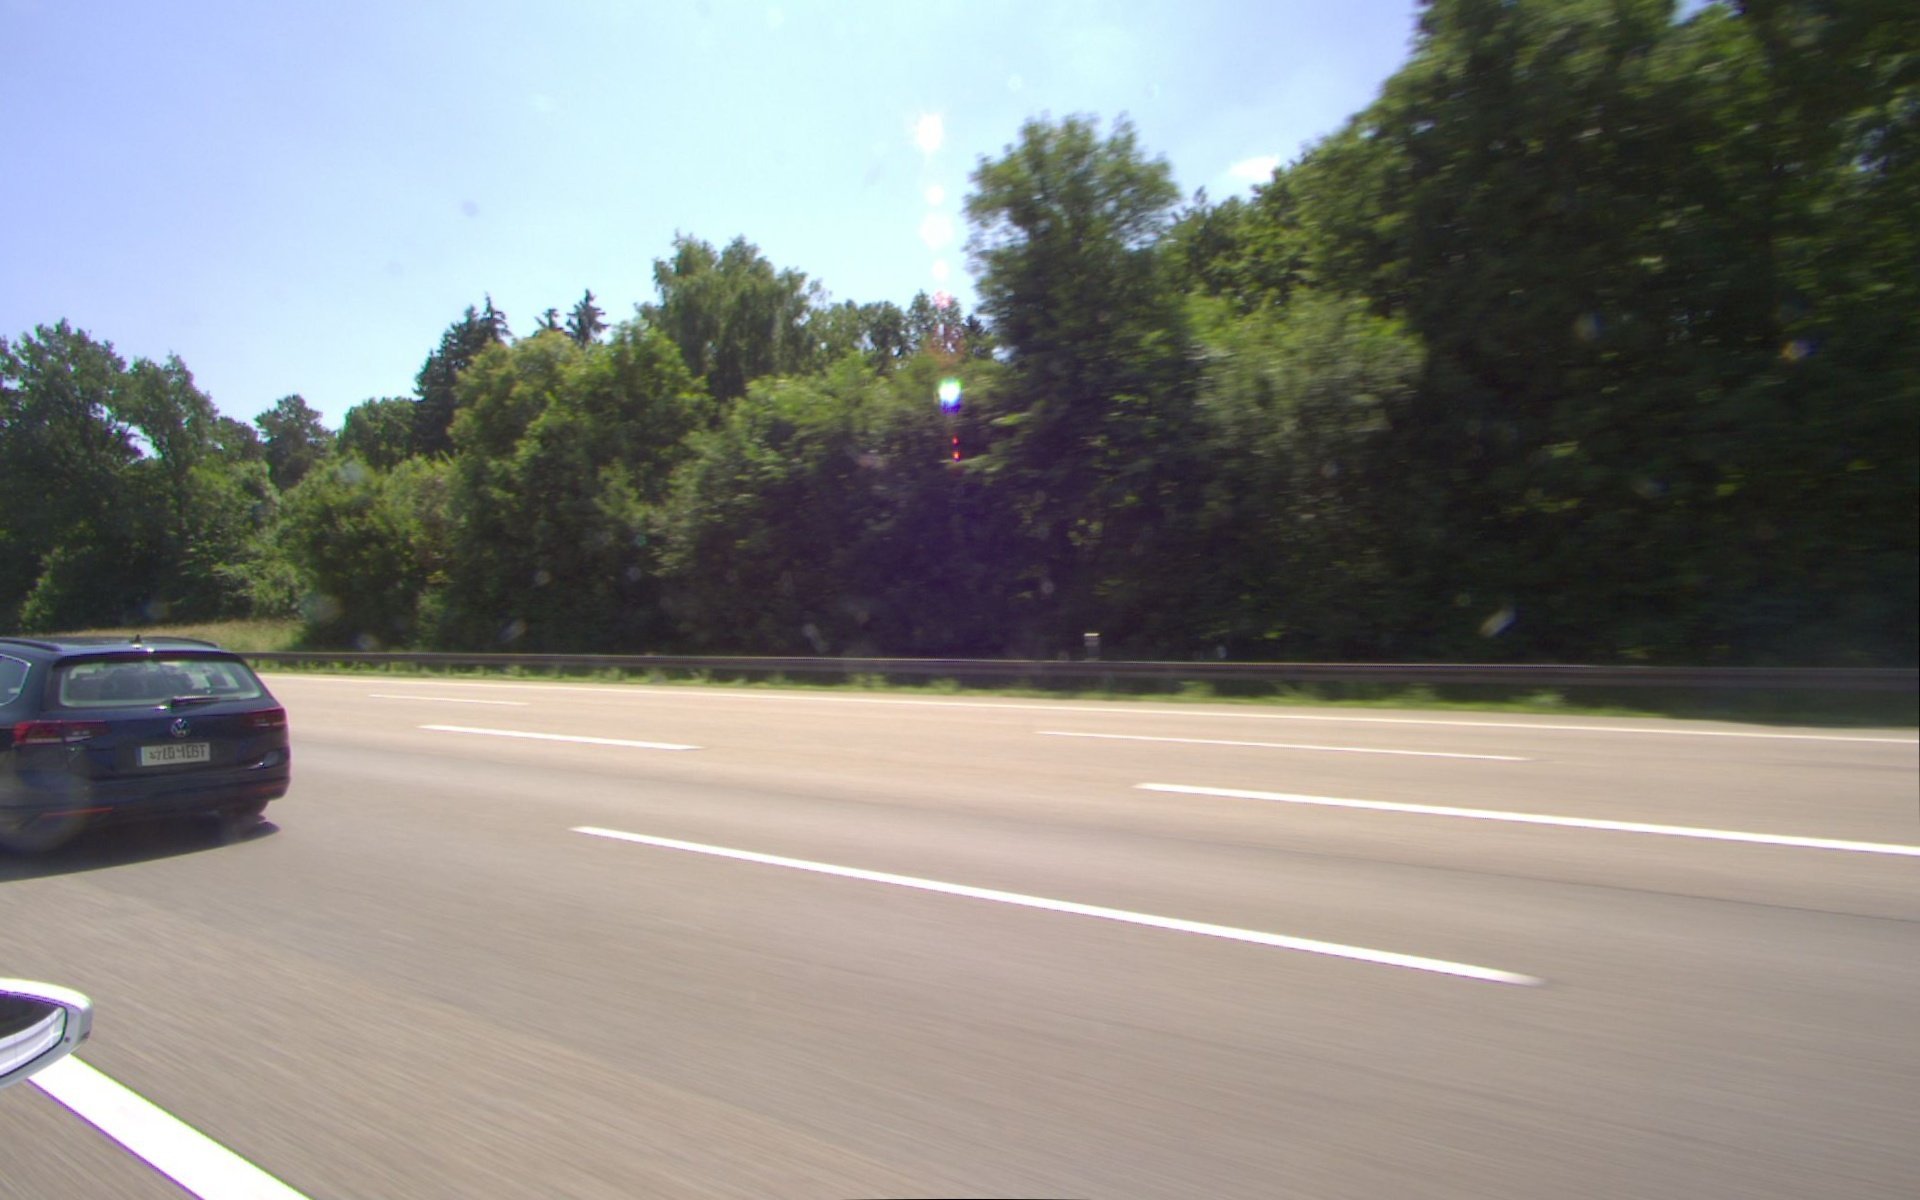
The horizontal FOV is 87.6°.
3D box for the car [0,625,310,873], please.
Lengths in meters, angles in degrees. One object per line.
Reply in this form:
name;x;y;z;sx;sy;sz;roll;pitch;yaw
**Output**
car;-7.311;0.939;8.014;4.891;1.466;1.726;-1;-1;33
